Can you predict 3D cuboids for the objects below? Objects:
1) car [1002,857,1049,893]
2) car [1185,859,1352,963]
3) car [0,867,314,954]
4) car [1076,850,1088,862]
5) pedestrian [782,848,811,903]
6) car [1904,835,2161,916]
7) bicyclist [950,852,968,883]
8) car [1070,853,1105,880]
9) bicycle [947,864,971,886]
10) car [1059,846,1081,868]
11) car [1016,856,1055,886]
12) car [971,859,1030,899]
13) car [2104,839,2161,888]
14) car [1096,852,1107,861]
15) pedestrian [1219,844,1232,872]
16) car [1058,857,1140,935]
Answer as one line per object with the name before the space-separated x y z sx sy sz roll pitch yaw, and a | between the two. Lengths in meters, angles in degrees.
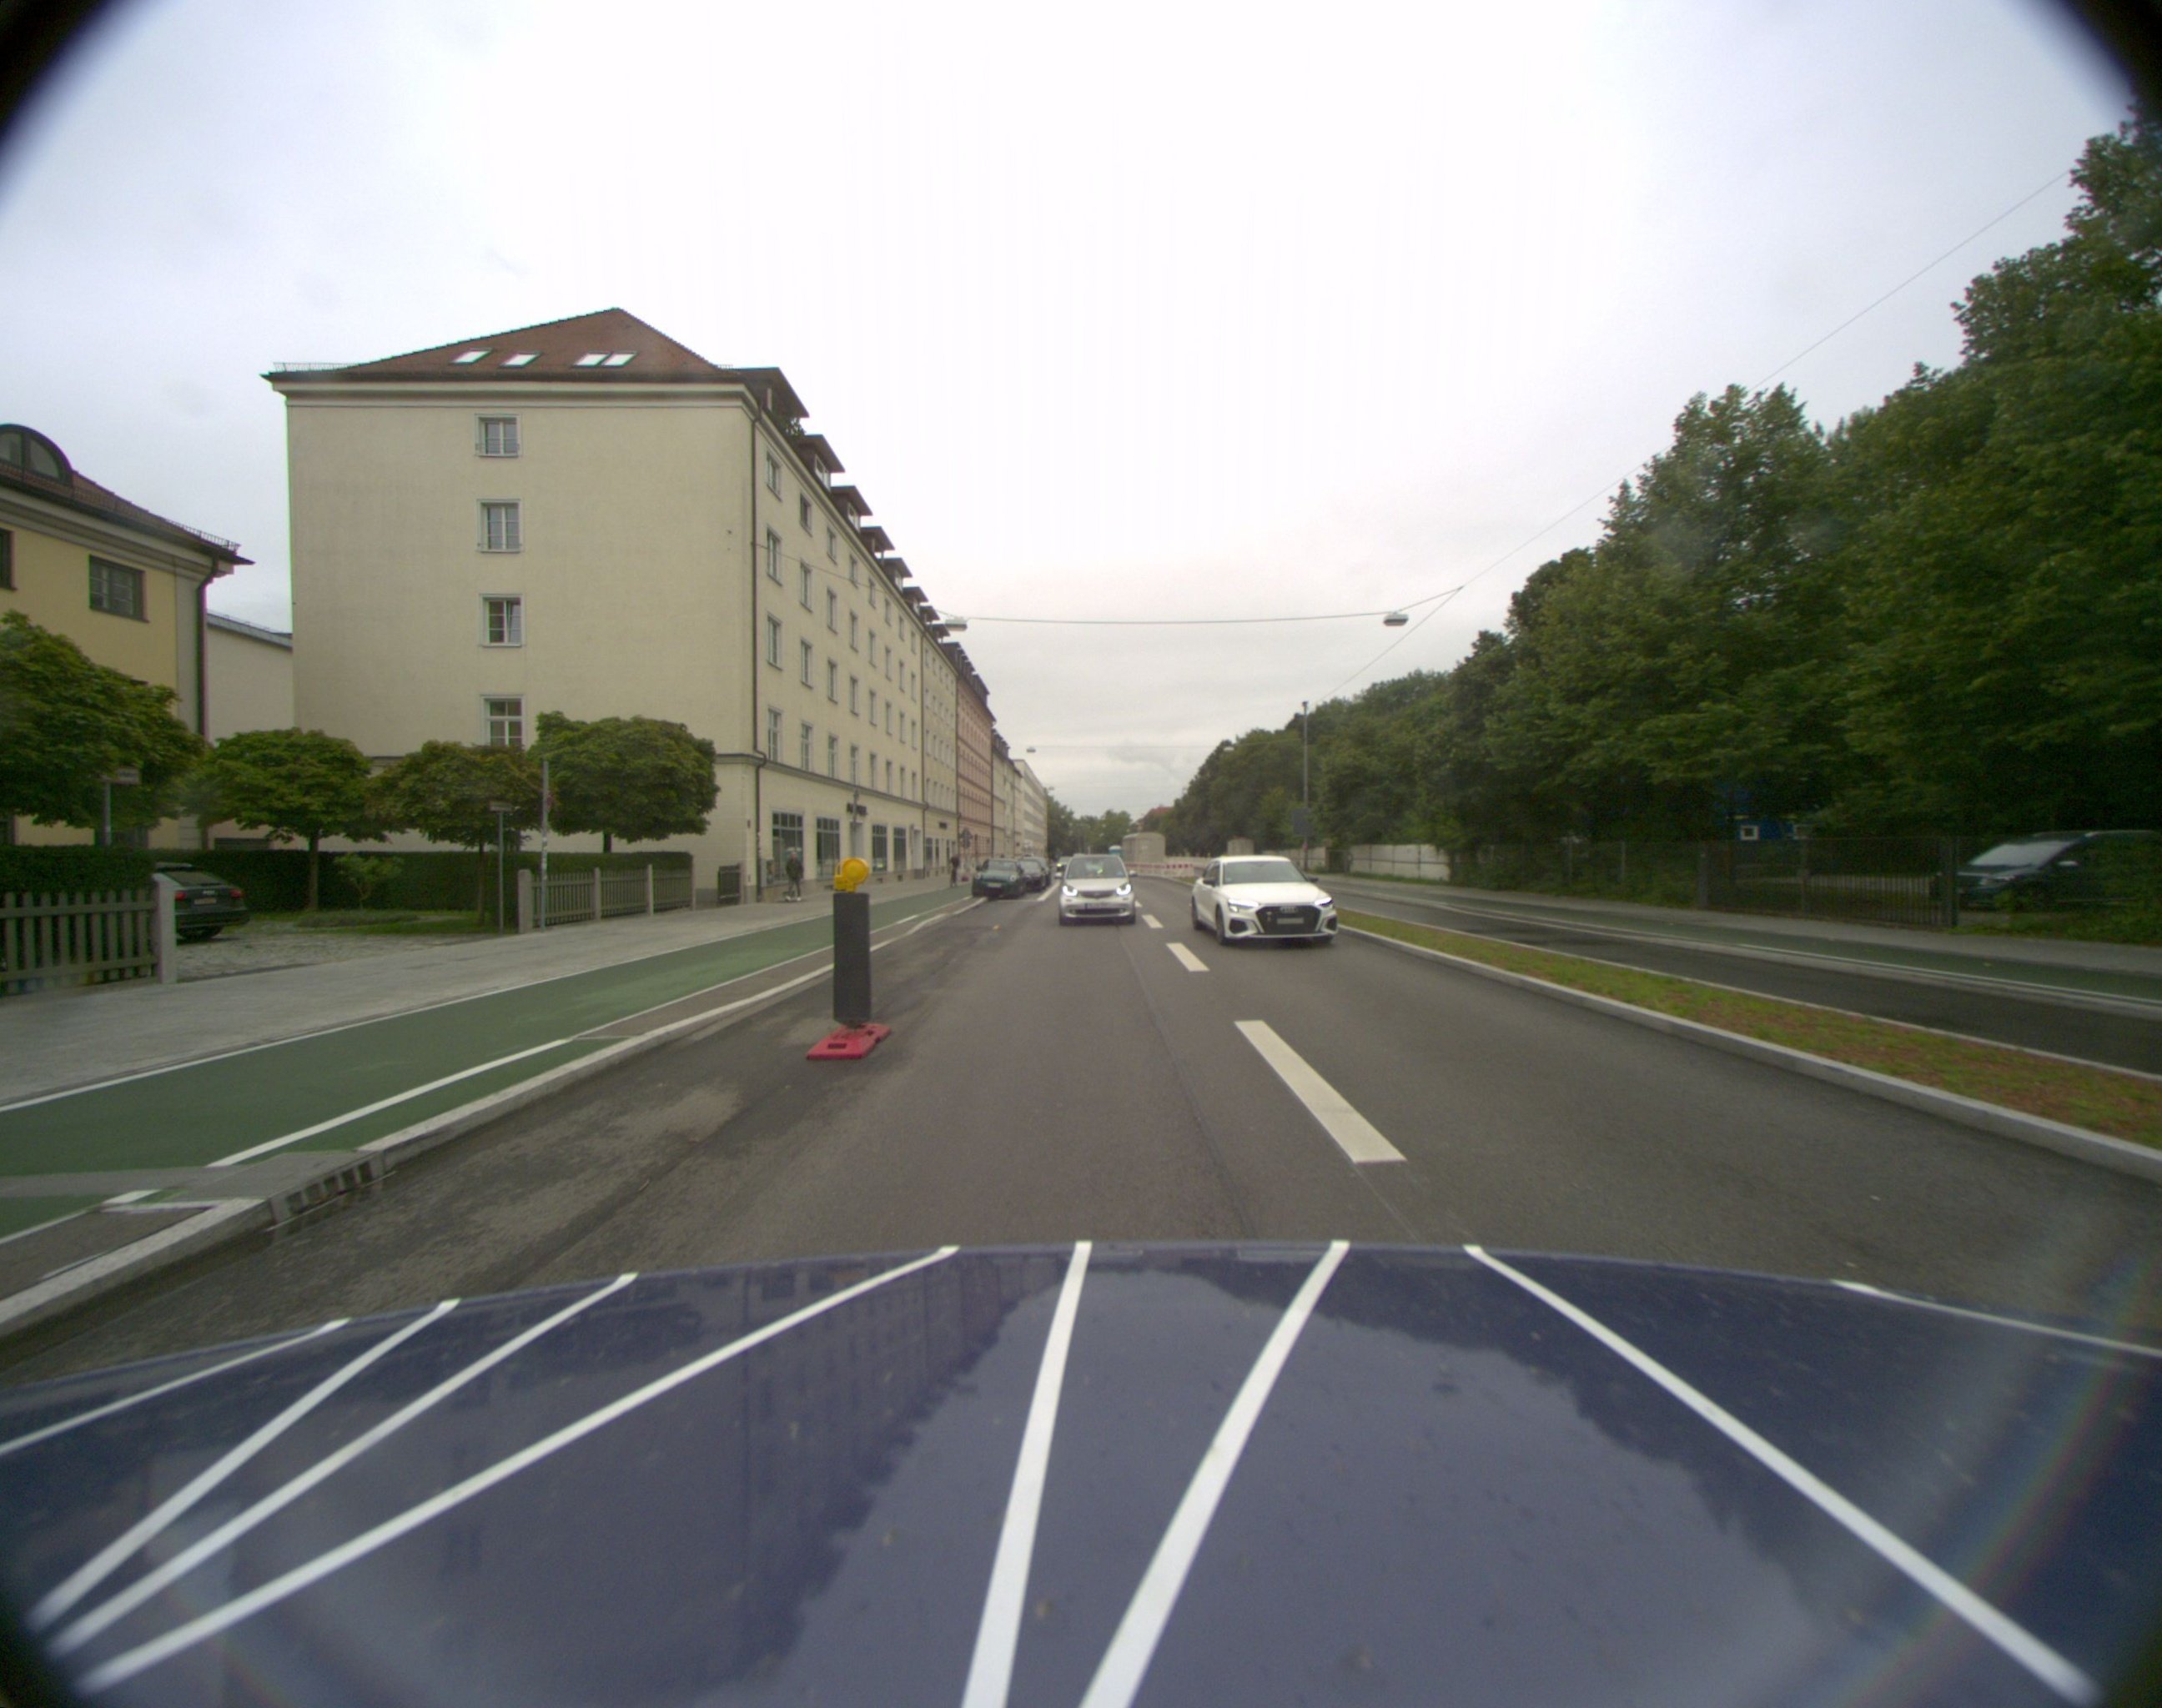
car | -2.409 0.893 33.878 1.739 1.425 4.000 -1 0 1
car | 3.064 0.855 13.414 1.818 1.416 4.452 -2 0 0
car | -17.481 1.009 14.199 4.305 1.409 1.855 -1 1 -2
car | 0.184 0.280 130.486 1.998 2.002 4.000 0 0 1
pedestrian | -9.779 0.714 26.116 0.655 1.863 0.826 1 1 1
car | 22.854 0.479 18.195 4.036 1.700 1.875 -2 3 4
bicyclist | -6.199 0.693 38.615 0.724 1.543 0.858 -2 1 0
car | 0.405 0.721 45.564 1.922 1.433 4.306 -3 0 0
bicycle | -6.188 1.037 38.671 0.751 1.026 2.531 -2 0 0
car | -1.004 0.283 72.140 1.998 2.002 4.000 0 0 0
car | -2.378 0.863 40.191 1.739 1.425 4.000 -1 0 1
car | -2.960 0.882 28.644 1.739 1.313 4.000 -1 0 1
car | 33.073 0.274 21.668 1.999 1.395 4.260 -2 0 -1
car | 3.229 0.350 119.781 1.739 1.425 4.000 -1 0 1
pedestrian | 10.543 0.303 55.434 0.757 2.002 0.867 -2 1 1
car | 0.396 0.860 17.398 1.633 1.494 4.000 -1 0 1
